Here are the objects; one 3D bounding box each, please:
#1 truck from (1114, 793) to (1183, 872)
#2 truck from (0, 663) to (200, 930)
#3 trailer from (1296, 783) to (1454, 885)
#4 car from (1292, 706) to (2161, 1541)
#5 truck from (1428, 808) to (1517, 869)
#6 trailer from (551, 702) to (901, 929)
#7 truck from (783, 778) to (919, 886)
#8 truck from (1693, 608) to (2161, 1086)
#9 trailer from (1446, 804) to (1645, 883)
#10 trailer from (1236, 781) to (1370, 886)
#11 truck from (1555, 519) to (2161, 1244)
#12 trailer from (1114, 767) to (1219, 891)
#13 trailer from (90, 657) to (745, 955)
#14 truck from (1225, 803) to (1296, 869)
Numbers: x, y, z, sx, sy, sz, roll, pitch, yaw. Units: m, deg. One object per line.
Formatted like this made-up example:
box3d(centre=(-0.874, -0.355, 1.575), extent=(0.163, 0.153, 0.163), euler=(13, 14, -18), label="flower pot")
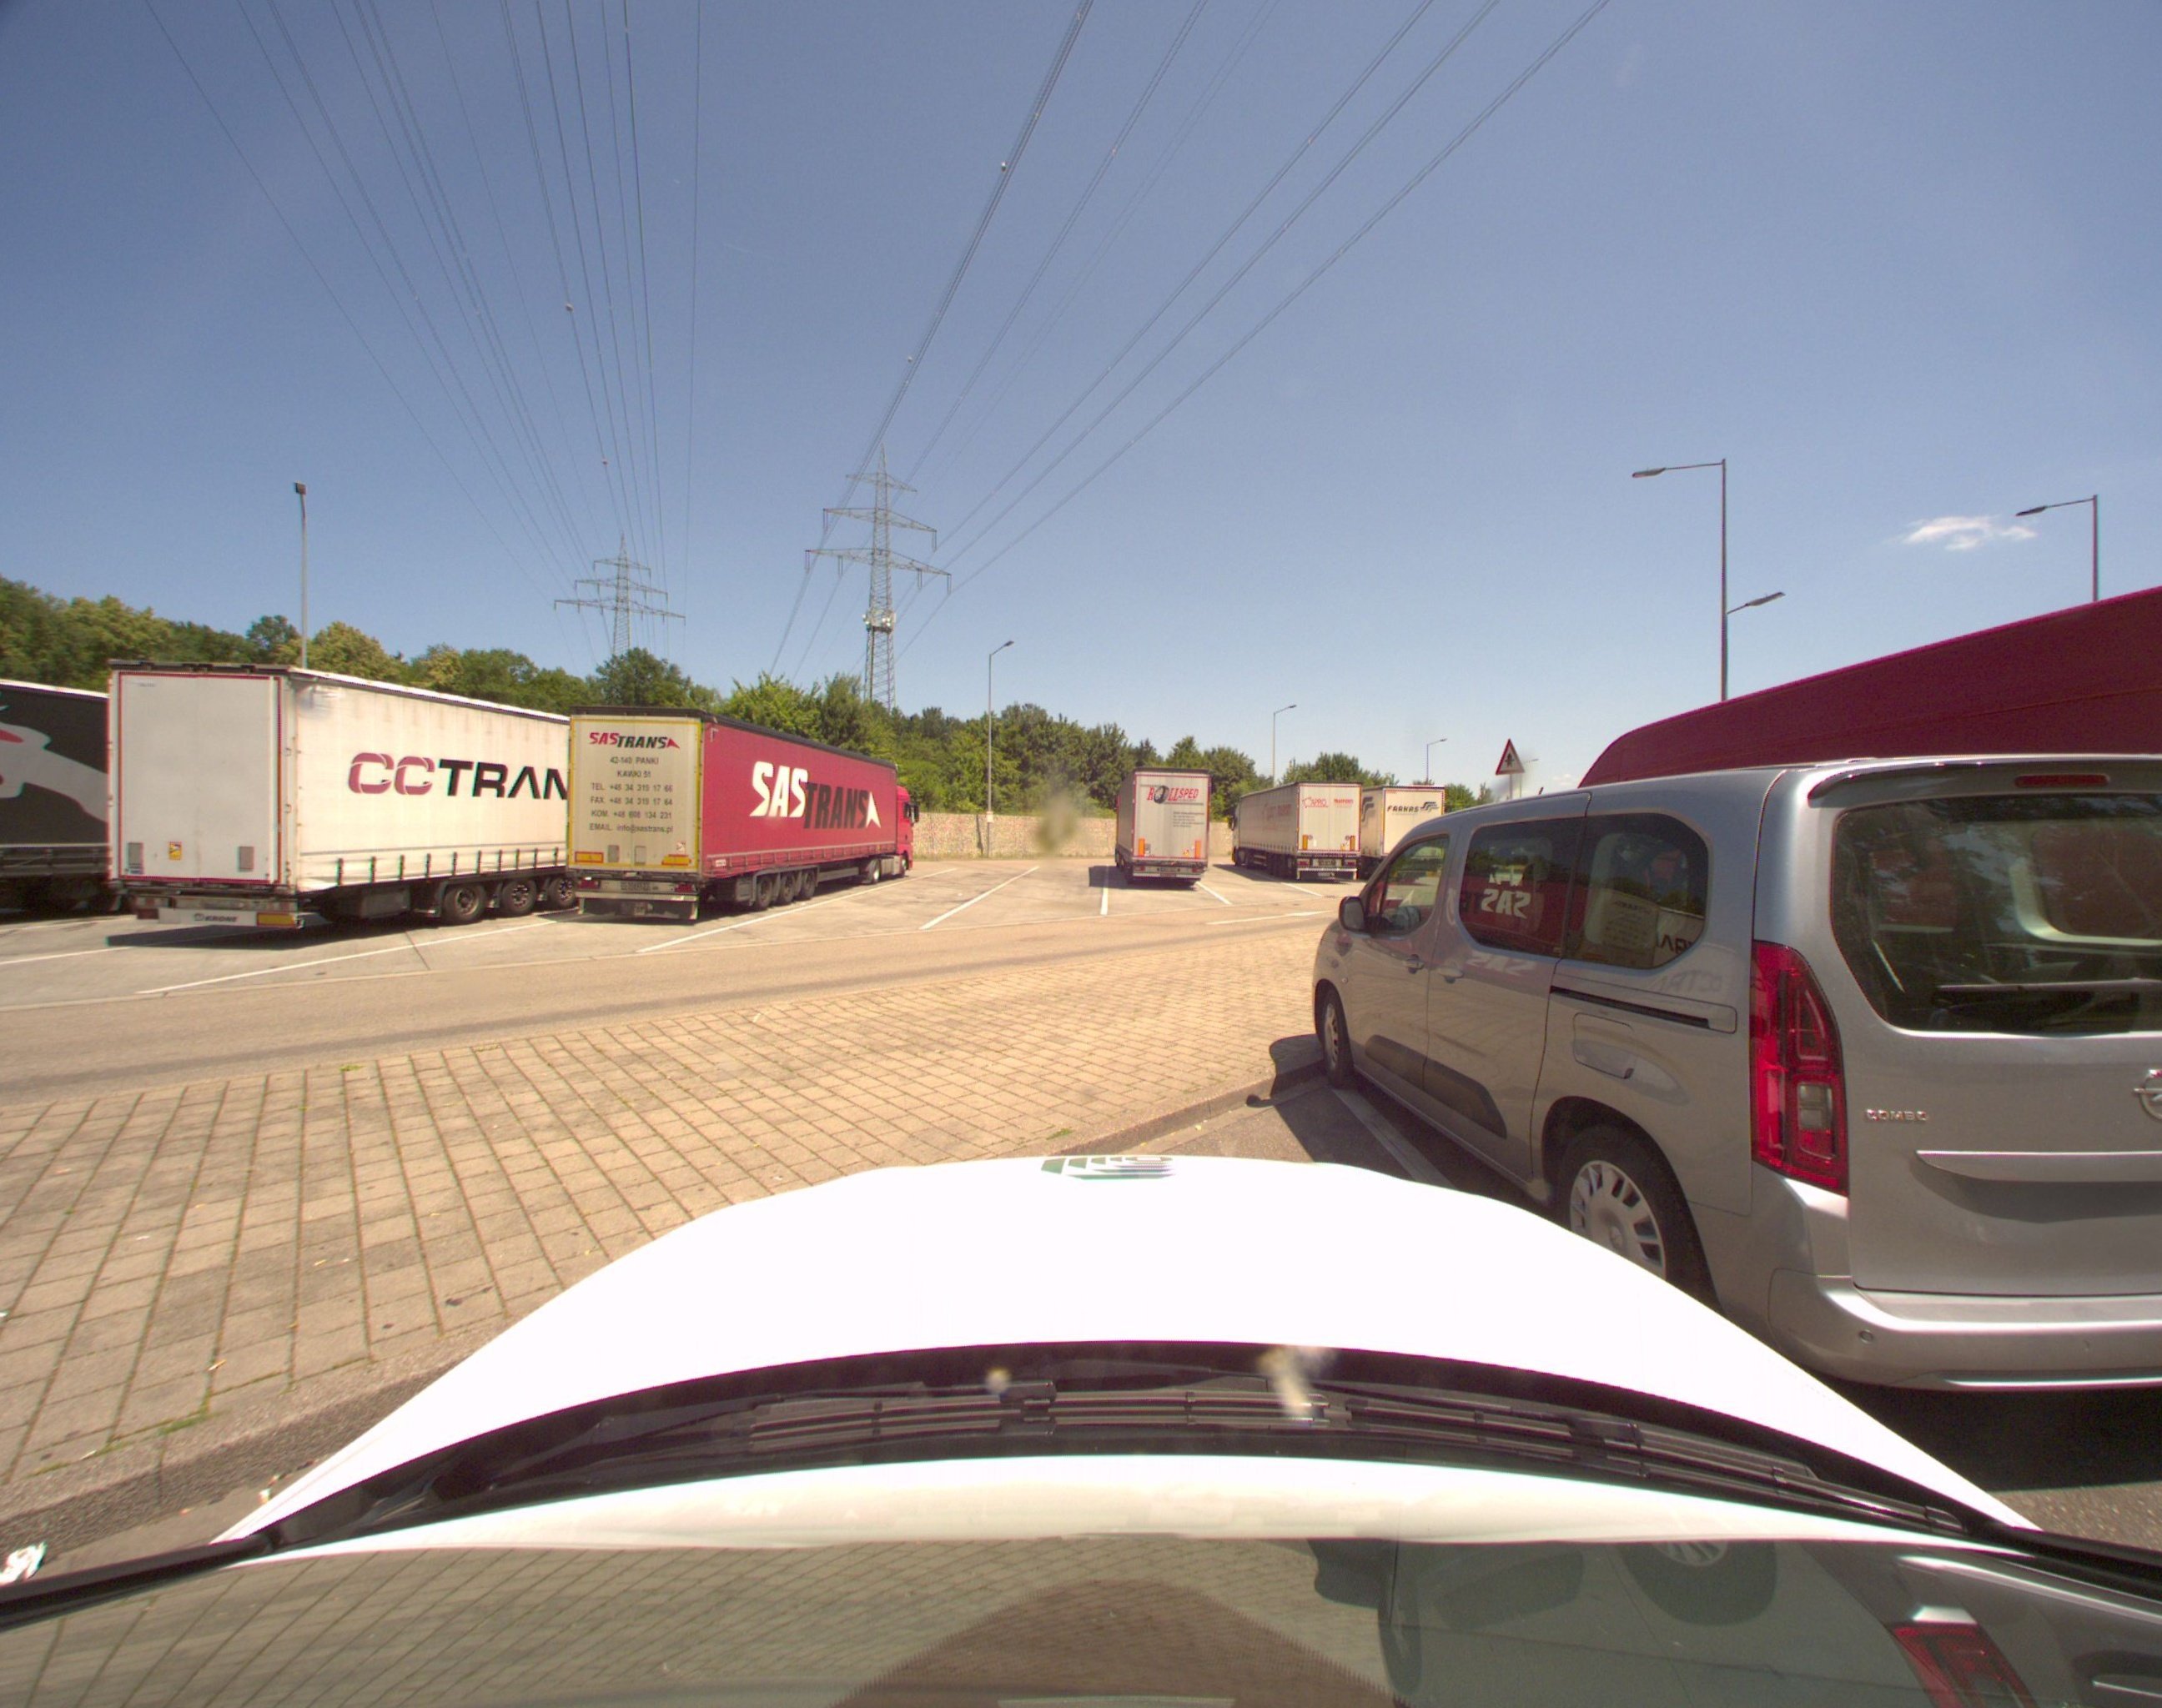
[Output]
box3d(centre=(3.235, -1.088, 40.620), extent=(3.092, 3.566, 5.903), euler=(1, 2, 2), label="truck")
box3d(centre=(-18.534, -0.970, 13.814), extent=(2.726, 4.239, 3.997), euler=(1, 2, 2), label="truck")
box3d(centre=(13.608, -1.044, 39.638), extent=(2.801, 3.989, 14.403), euler=(1, 2, 2), label="trailer")
box3d(centre=(2.496, 0.574, 3.914), extent=(1.864, 1.863, 4.176), euler=(1, 1, 0), label="car")
box3d(centre=(24.361, -1.016, 51.017), extent=(2.792, 3.521, 5.903), euler=(1, 2, 2), label="truck")
box3d(centre=(-8.058, -0.950, 21.935), extent=(2.781, 4.084, 14.139), euler=(1, 2, 2), label="trailer")
box3d(centre=(-7.810, -0.789, 28.505), extent=(2.840, 3.327, 5.903), euler=(1, 2, 2), label="truck")
box3d(centre=(7.998, -0.038, 6.486), extent=(2.444, 2.912, 5.663), euler=(-1, -1, 7), label="truck")
box3d(centre=(24.105, -0.743, 43.785), extent=(2.801, 3.507, 14.403), euler=(1, 2, 2), label="trailer")
box3d(centre=(9.934, -1.052, 38.675), extent=(2.801, 3.989, 14.403), euler=(1, 2, 2), label="trailer")
box3d(centre=(5.142, 0.118, 4.938), extent=(1.968, 2.622, 5.314), euler=(0, -1, 7), label="truck")
box3d(centre=(3.069, -1.070, 33.726), extent=(3.122, 3.989, 14.401), euler=(1, 2, 1), label="trailer")
box3d(centre=(-12.122, -0.913, 18.366), extent=(2.785, 4.084, 14.139), euler=(1, 2, 2), label="trailer")
box3d(centre=(10.196, -1.084, 46.776), extent=(2.852, 3.521, 5.903), euler=(1, 2, 2), label="truck")
